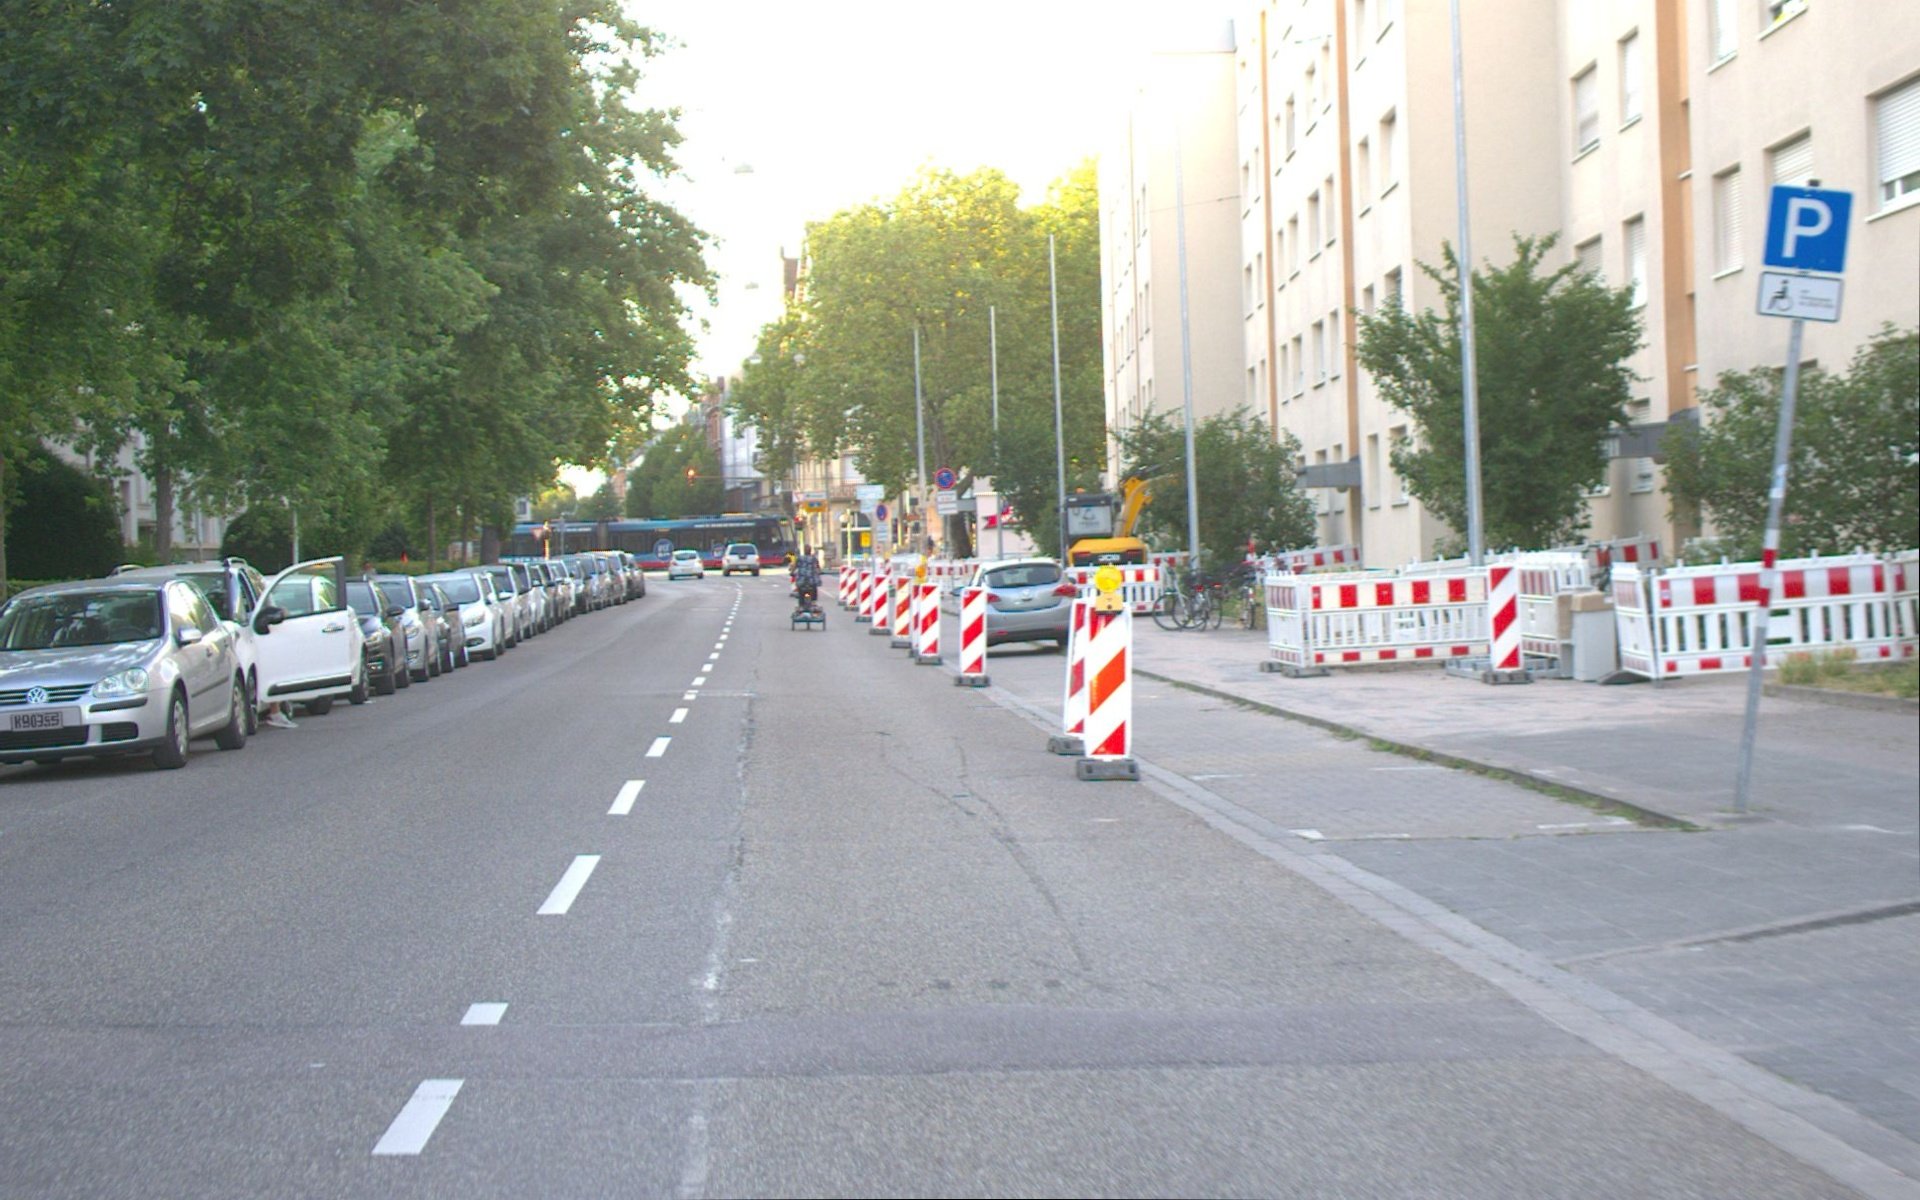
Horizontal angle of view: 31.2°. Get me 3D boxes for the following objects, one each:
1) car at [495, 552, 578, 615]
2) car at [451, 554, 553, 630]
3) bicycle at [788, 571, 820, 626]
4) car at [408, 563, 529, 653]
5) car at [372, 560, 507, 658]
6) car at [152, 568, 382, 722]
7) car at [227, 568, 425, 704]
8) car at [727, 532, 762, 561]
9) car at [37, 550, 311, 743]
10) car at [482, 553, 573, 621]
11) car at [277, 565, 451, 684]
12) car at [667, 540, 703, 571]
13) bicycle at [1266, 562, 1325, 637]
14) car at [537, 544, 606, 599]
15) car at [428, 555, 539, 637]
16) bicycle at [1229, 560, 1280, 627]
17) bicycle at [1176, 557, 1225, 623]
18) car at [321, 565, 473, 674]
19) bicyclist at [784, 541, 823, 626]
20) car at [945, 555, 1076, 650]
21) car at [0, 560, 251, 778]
[{"bbox_3d":[-10.826,-0.440,88.035,1.756,1.438,3.454,-4,1,-2],"label":"car"},{"bbox_3d":[-9.677,-0.185,72.810,1.756,1.438,3.454,-4,1,-2],"label":"car"},{"bbox_3d":[-3.340,-0.045,73.774,0.641,1.111,3.056,-2,1,-3],"label":"bicycle"},{"bbox_3d":[-8.895,0.119,62.421,1.756,1.438,3.454,-4,1,-2],"label":"car"},{"bbox_3d":[-8.595,0.122,57.042,1.756,1.438,3.454,-4,1,-2],"label":"car"},{"bbox_3d":[-7.435,0.444,37.216,1.756,1.438,3.928,-4,1,-2],"label":"car"},{"bbox_3d":[-7.699,0.401,42.079,1.756,1.438,3.928,-4,1,-2],"label":"car"},{"bbox_3d":[-11.866,-2.917,188.985,1.694,1.438,3.454,-4,1,-6],"label":"car"},{"bbox_3d":[-7.403,0.385,32.742,1.756,1.598,3.928,-4,1,-2],"label":"car"},{"bbox_3d":[-10.182,-0.323,81.202,1.756,1.438,3.454,-4,1,-2],"label":"car"},{"bbox_3d":[-8.102,0.301,47.012,1.778,1.419,3.747,-5,1,-2],"label":"car"},{"bbox_3d":[-14.247,-2.301,178.149,1.756,1.438,3.454,-4,1,-4],"label":"car"},{"bbox_3d":[5.160,-0.023,52.975,0.617,1.103,2.235,-2,1,-1],"label":"bicycle"},{"bbox_3d":[-11.222,-0.837,99.364,1.652,1.438,3.454,-4,1,-2],"label":"car"},{"bbox_3d":[-9.421,-0.098,68.139,1.756,1.438,3.454,-4,1,-2],"label":"car"},{"bbox_3d":[5.047,-0.121,58.974,0.617,1.103,2.235,-2,1,-1],"label":"bicycle"},{"bbox_3d":[4.157,-0.184,59.473,0.617,1.103,2.235,-2,1,-1],"label":"bicycle"},{"bbox_3d":[-8.388,0.269,51.454,1.756,1.438,3.454,-4,1,-2],"label":"car"},{"bbox_3d":[-3.385,-0.368,74.321,0.791,1.794,1.017,-2,1,-3],"label":"bicyclist"},{"bbox_3d":[0.762,0.005,54.251,1.779,1.385,4.001,-2,1,-3],"label":"car"},{"bbox_3d":[-6.788,0.500,26.814,1.756,1.478,3.928,-4,1,-2],"label":"car"}]
